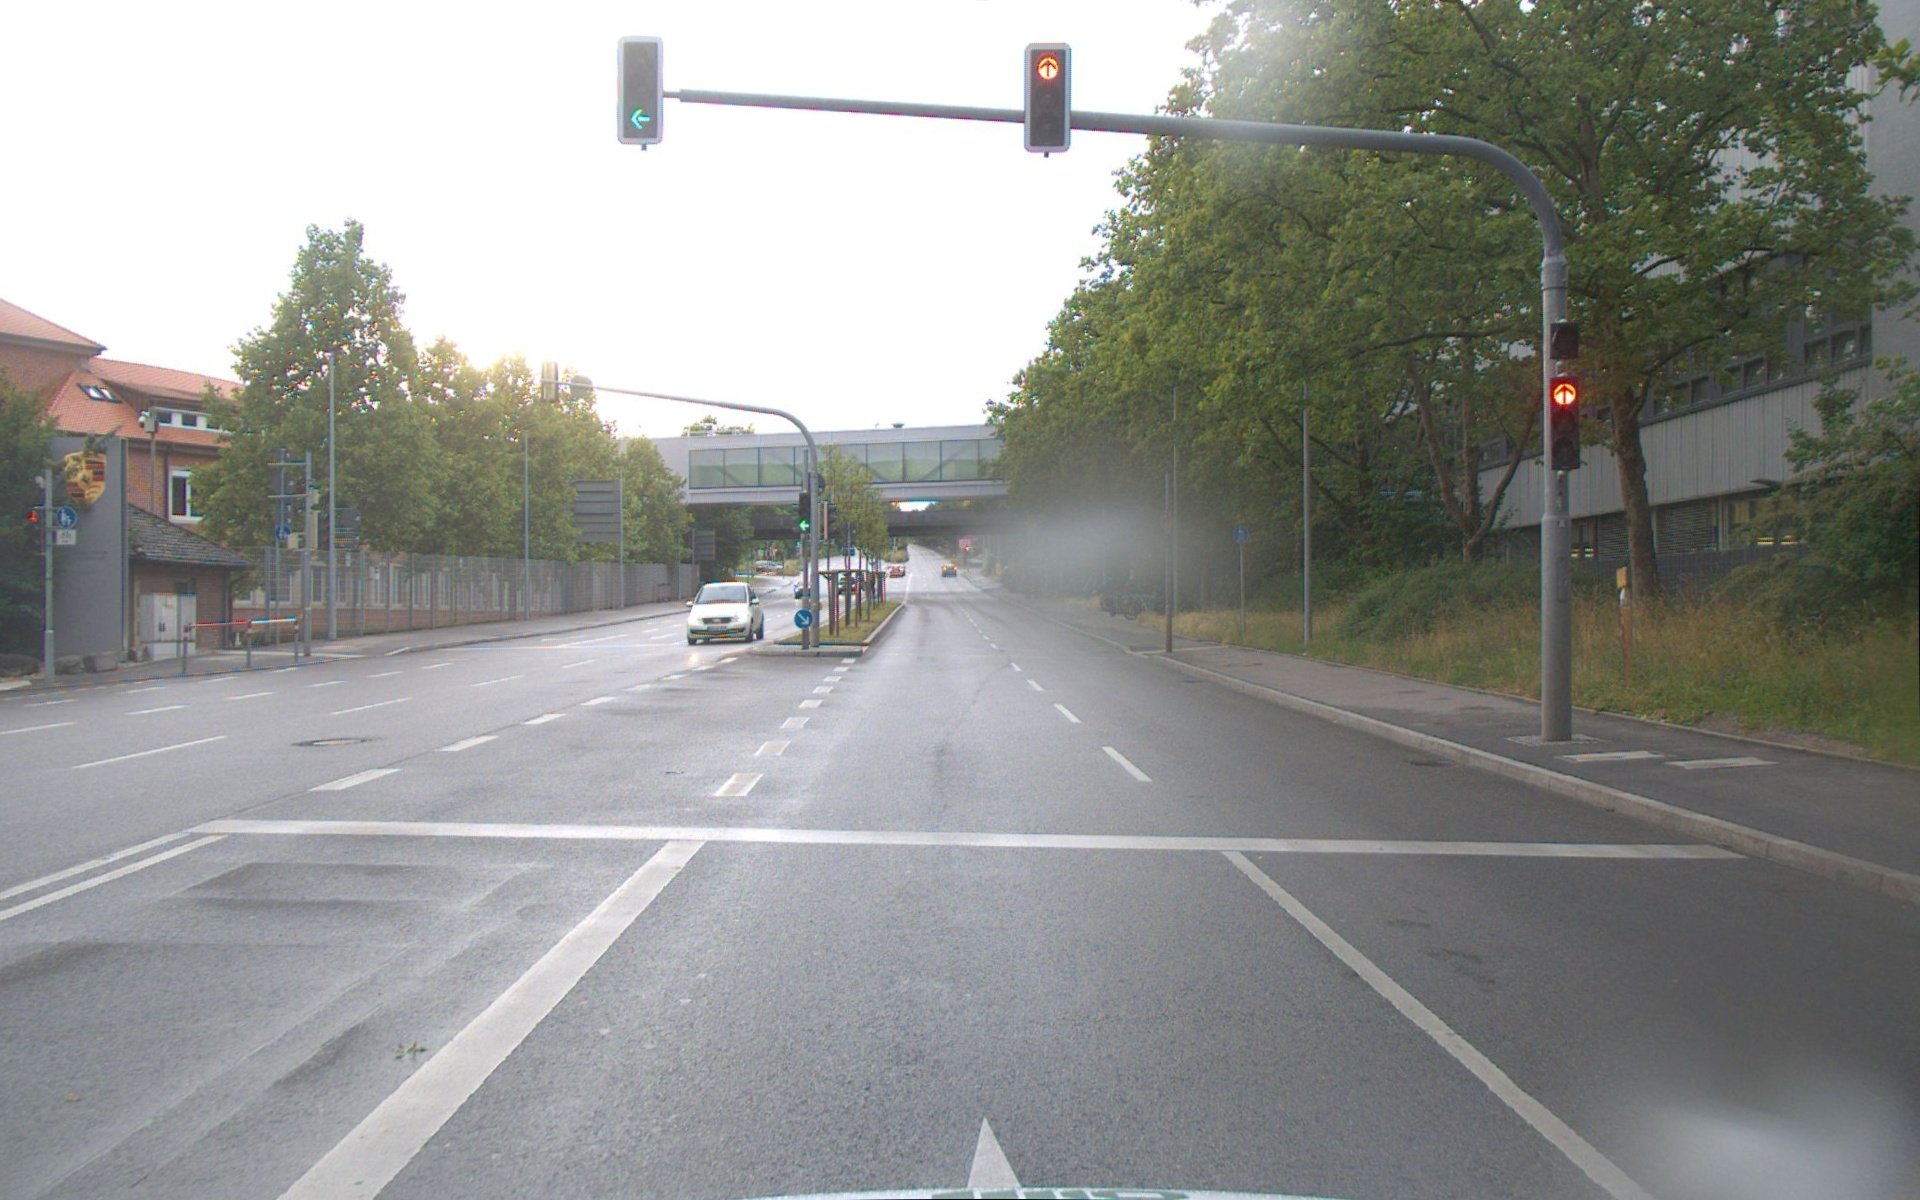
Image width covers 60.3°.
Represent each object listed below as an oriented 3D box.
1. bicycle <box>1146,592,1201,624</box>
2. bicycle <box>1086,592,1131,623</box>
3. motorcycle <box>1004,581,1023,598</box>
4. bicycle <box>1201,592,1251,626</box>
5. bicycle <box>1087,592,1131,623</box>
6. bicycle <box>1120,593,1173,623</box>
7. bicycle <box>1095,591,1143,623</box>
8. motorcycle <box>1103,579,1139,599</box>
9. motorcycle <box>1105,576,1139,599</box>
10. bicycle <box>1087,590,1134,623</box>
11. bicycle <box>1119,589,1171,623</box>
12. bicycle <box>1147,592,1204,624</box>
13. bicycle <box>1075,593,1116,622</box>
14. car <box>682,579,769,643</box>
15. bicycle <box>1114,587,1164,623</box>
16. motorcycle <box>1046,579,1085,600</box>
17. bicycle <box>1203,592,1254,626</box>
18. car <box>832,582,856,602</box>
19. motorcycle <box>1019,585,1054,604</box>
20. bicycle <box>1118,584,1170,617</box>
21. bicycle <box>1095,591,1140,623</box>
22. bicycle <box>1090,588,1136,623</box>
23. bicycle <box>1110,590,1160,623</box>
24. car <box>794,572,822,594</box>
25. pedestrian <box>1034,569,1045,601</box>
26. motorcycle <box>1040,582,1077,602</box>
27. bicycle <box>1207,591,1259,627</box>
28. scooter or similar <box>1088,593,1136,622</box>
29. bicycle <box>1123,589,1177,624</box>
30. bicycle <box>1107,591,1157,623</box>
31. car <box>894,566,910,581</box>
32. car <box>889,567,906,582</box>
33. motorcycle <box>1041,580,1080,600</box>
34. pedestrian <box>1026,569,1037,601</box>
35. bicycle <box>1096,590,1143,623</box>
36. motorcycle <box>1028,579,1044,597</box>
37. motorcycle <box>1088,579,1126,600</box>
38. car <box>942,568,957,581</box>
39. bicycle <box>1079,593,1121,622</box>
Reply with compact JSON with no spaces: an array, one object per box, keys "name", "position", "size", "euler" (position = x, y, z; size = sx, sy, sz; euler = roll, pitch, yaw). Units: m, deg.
[{"name":"bicycle","position":[7.823,0.300,60.662],"size":[1.949,1.114,0.541],"euler":[2,-1,0]},{"name":"bicycle","position":[6.770,0.330,75.349],"size":[1.949,1.352,0.576],"euler":[2,-1,0]},{"name":"motorcycle","position":[4.262,-0.824,131.622],"size":[0.778,1.334,2.364],"euler":[-1,0,-18]},{"name":"bicycle","position":[11.069,0.390,68.873],"size":[1.949,1.352,0.576],"euler":[2,-1,0]},{"name":"bicycle","position":[6.896,0.336,76.588],"size":[1.920,1.352,0.576],"euler":[2,-1,0]},{"name":"bicycle","position":[7.174,0.306,63.722],"size":[1.949,1.114,0.541],"euler":[2,-1,0]},{"name":"bicycle","position":[6.666,0.290,69.392],"size":[1.949,1.263,0.541],"euler":[2,-1,0]},{"name":"motorcycle","position":[10.466,-0.706,107.552],"size":[2.318,1.223,0.723],"euler":[-1,0,7]},{"name":"motorcycle","position":[11.103,-0.837,113.329],"size":[2.318,1.502,0.723],"euler":[-1,0,7]},{"name":"bicycle","position":[6.560,0.286,72.105],"size":[1.949,1.352,0.576],"euler":[2,-1,0]},{"name":"bicycle","position":[7.186,0.252,64.305],"size":[1.949,1.255,0.541],"euler":[2,-1,0]},{"name":"bicycle","position":[7.827,0.294,60.094],"size":[1.949,1.114,0.541],"euler":[2,-1,0]},{"name":"bicycle","position":[6.581,0.373,80.595],"size":[1.922,1.352,0.654],"euler":[2,-1,0]},{"name":"car","position":[-6.384,0.285,45.435],"size":[1.839,1.653,3.778],"euler":[-1,0,0]},{"name":"bicycle","position":[7.182,0.204,66.383],"size":[1.949,1.364,0.541],"euler":[2,-1,0]},{"name":"motorcycle","position":[6.446,-0.658,101.137],"size":[2.318,1.223,0.723],"euler":[-1,0,7]},{"name":"bicycle","position":[11.075,0.383,68.258],"size":[1.949,1.352,0.576],"euler":[2,-1,0]},{"name":"car","position":[-10.085,-0.710,143.600],"size":[1.839,1.653,3.778],"euler":[-1,0,0]},{"name":"motorcycle","position":[5.185,-0.385,111.973],"size":[2.318,1.223,0.723],"euler":[-1,0,7]},{"name":"bicycle","position":[7.214,0.024,65.022],"size":[1.949,1.263,0.541],"euler":[2,-1,0]},{"name":"bicycle","position":[7.097,0.320,74.641],"size":[1.949,1.352,0.576],"euler":[2,-1,0]},{"name":"bicycle","position":[6.811,0.249,73.785],"size":[1.949,1.455,0.723],"euler":[2,-1,0]},{"name":"bicycle","position":[7.081,0.276,67.073],"size":[1.949,1.263,0.541],"euler":[2,-1,0]},{"name":"car","position":[-11.957,-1.340,129.997],"size":[1.839,1.653,3.778],"euler":[-1,0,0]},{"name":"pedestrian","position":[5.120,-0.984,106.265],"size":[0.609,2.049,0.605],"euler":[-1,0,-1]},{"name":"motorcycle","position":[6.408,-0.503,107.768],"size":[2.318,1.223,0.723],"euler":[-1,0,7]},{"name":"bicycle","position":[10.926,0.353,66.114],"size":[1.949,1.352,0.576],"euler":[2,-1,0]},{"name":"scooter or similar","position":[6.451,0.330,70.202],"size":[1.949,1.157,0.541],"euler":[2,-1,0]},{"name":"bicycle","position":[7.142,0.234,62.115],"size":[1.949,1.237,0.541],"euler":[2,-1,0]},{"name":"bicycle","position":[7.068,0.287,68.022],"size":[1.949,1.263,0.541],"euler":[2,-1,0]},{"name":"car","position":[-7.694,-3.495,219.426],"size":[1.846,1.792,3.968],"euler":[2,-1,0]},{"name":"car","position":[-8.060,-3.315,212.747],"size":[1.953,1.792,3.999],"euler":[2,-1,0]},{"name":"motorcycle","position":[6.309,-0.616,103.770],"size":[2.318,1.223,0.723],"euler":[-1,0,7]},{"name":"pedestrian","position":[4.599,-0.985,106.852],"size":[0.609,2.049,0.605],"euler":[-1,0,-1]},{"name":"bicycle","position":[6.884,0.287,71.299],"size":[1.949,1.352,0.576],"euler":[2,-1,0]},{"name":"motorcycle","position":[5.817,-0.904,126.651],"size":[0.775,1.334,2.372],"euler":[-1,0,-9]},{"name":"motorcycle","position":[9.362,-0.670,105.348],"size":[2.318,1.223,0.723],"euler":[-1,0,7]},{"name":"car","position":[-1.309,-3.256,209.136],"size":[1.837,1.523,4.067],"euler":[2,-1,0]},{"name":"bicycle","position":[6.674,0.356,78.877],"size":[1.922,1.352,0.654],"euler":[2,-1,0]}]
